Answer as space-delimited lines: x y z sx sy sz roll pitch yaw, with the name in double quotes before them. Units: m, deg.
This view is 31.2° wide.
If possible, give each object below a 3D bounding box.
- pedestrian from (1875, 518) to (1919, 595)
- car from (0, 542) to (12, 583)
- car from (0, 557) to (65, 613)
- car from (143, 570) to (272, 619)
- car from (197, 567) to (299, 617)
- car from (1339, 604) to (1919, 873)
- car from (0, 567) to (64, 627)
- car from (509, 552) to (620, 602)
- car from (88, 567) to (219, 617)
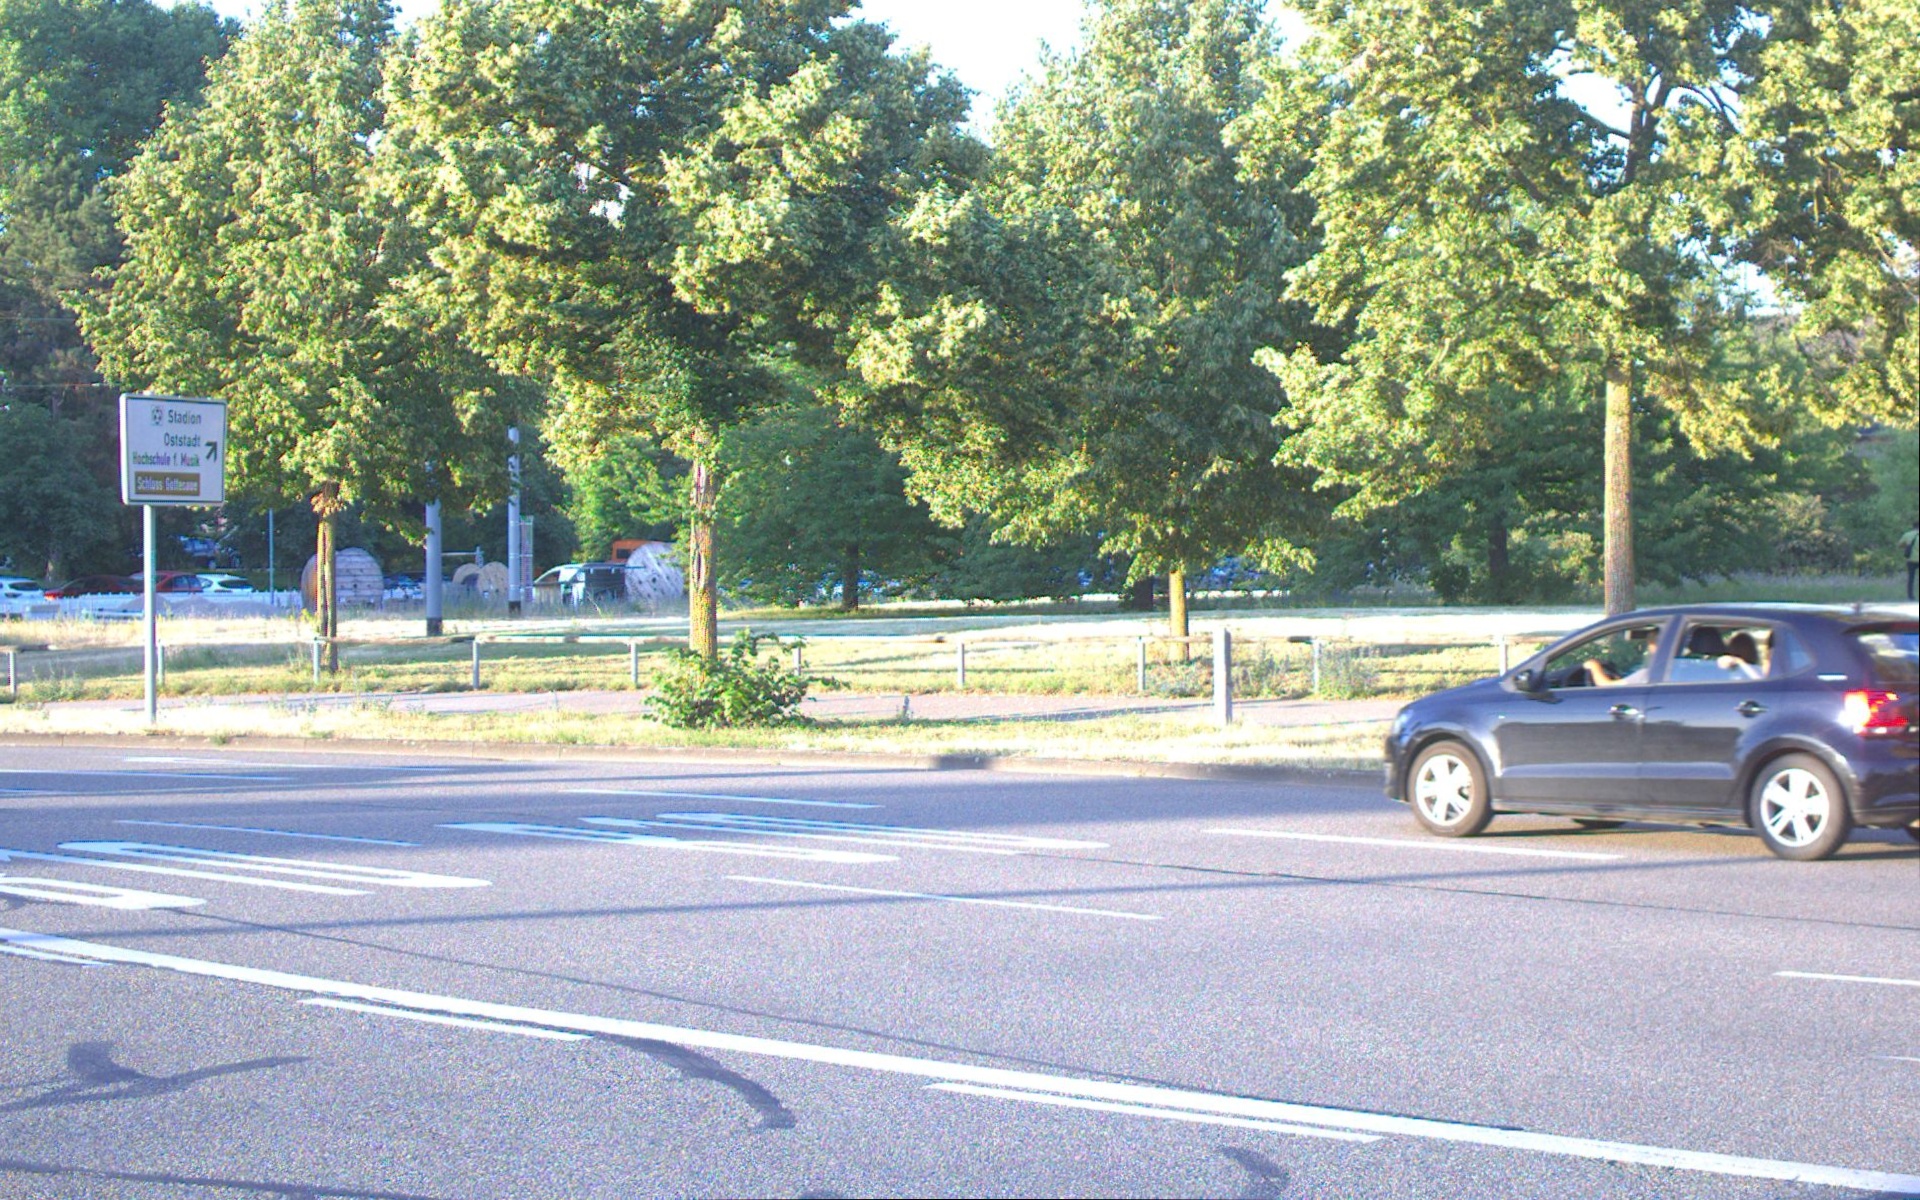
"pedestrian" 19.852 -0.916 72.184 1.069 1.612 0.910 0 1 2
"car" -42.403 -1.583 145.362 3.988 1.700 2.000 0 1 7
"car" -35.224 -0.556 125.805 4.582 2.007 2.001 -1 1 -9
"car" -25.363 -0.210 115.822 3.994 1.598 1.996 0 1 33
"car" -26.810 -0.325 129.301 1.994 1.746 4.597 -1 2 -37
"car" 4.322 0.738 20.224 1.690 1.349 3.998 -2 2 -44
"car" -33.139 -0.098 117.672 4.582 2.007 2.001 -1 1 -9
"car" -13.221 -0.779 114.880 1.734 1.612 3.998 -1 1 -41
"car" -26.767 -0.265 114.092 3.994 1.598 1.996 0 1 33
